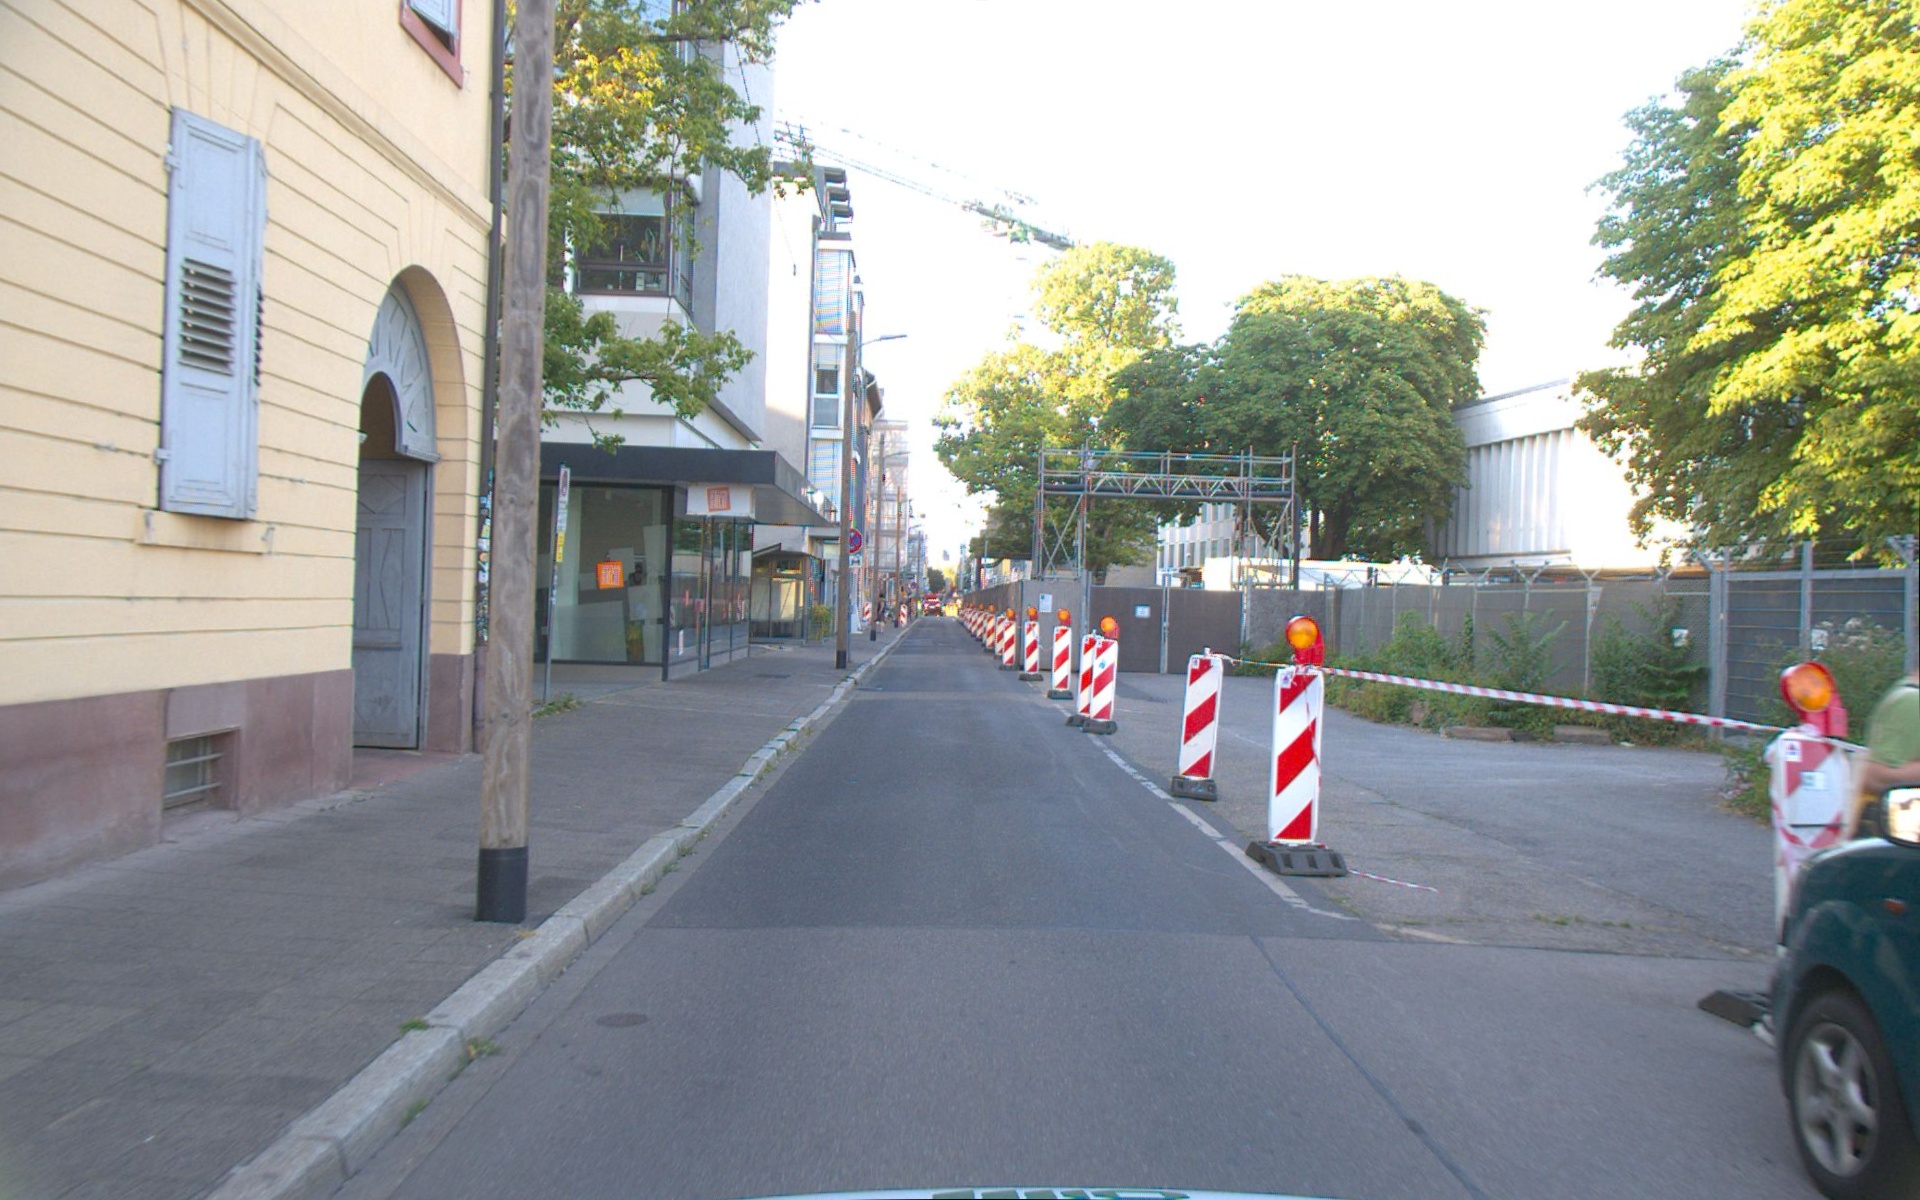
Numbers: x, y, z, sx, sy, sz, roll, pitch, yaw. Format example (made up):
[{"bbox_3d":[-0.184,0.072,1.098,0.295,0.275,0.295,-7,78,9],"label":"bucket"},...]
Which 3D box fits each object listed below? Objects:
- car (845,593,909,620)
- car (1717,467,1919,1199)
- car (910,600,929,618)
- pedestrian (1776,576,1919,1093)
[{"bbox_3d":[-4.831,0.366,96.432,3.669,1.485,1.696,1,-1,-4],"label":"car"},{"bbox_3d":[3.218,0.632,3.148,1.678,1.881,4.022,2,0,0],"label":"car"},{"bbox_3d":[-4.130,0.932,169.478,1.821,1.691,3.999,2,0,-1],"label":"car"},{"bbox_3d":[3.337,0.765,5.719,0.601,1.657,0.818,2,-1,2],"label":"pedestrian"}]
